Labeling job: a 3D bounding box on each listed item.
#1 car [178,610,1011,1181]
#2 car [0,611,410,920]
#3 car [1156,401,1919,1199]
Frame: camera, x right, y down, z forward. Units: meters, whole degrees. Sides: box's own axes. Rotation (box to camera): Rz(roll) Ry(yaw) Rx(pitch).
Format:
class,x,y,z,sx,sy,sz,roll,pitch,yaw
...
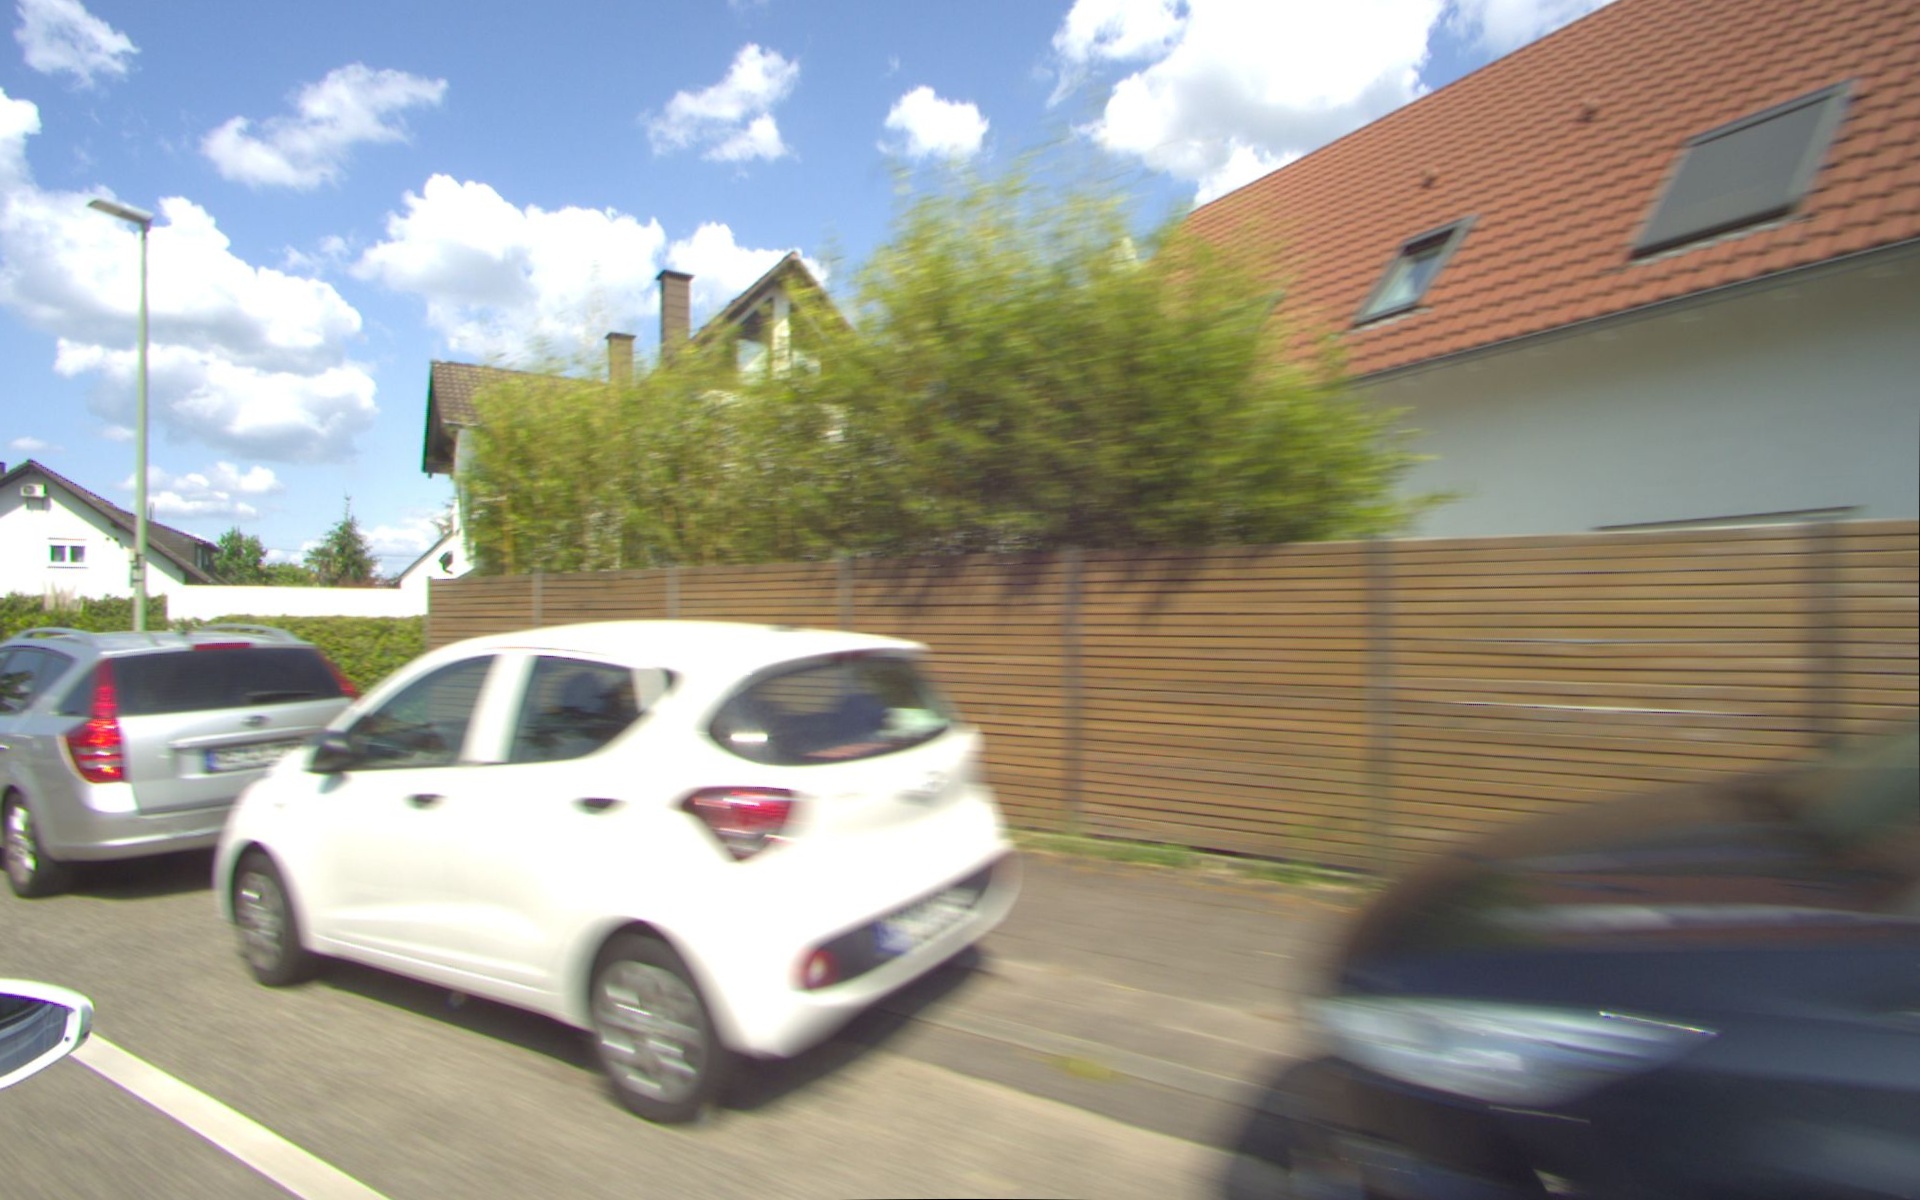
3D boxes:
class,x,y,z,sx,sy,sz,roll,pitch,yaw
car,-1.707,0.813,4.265,3.618,1.525,1.440,0,-1,32
car,-5.870,0.888,6.984,4.230,1.572,1.742,-1,-2,32
car,2.807,0.649,1.348,4.641,1.795,1.889,-2,-3,32
